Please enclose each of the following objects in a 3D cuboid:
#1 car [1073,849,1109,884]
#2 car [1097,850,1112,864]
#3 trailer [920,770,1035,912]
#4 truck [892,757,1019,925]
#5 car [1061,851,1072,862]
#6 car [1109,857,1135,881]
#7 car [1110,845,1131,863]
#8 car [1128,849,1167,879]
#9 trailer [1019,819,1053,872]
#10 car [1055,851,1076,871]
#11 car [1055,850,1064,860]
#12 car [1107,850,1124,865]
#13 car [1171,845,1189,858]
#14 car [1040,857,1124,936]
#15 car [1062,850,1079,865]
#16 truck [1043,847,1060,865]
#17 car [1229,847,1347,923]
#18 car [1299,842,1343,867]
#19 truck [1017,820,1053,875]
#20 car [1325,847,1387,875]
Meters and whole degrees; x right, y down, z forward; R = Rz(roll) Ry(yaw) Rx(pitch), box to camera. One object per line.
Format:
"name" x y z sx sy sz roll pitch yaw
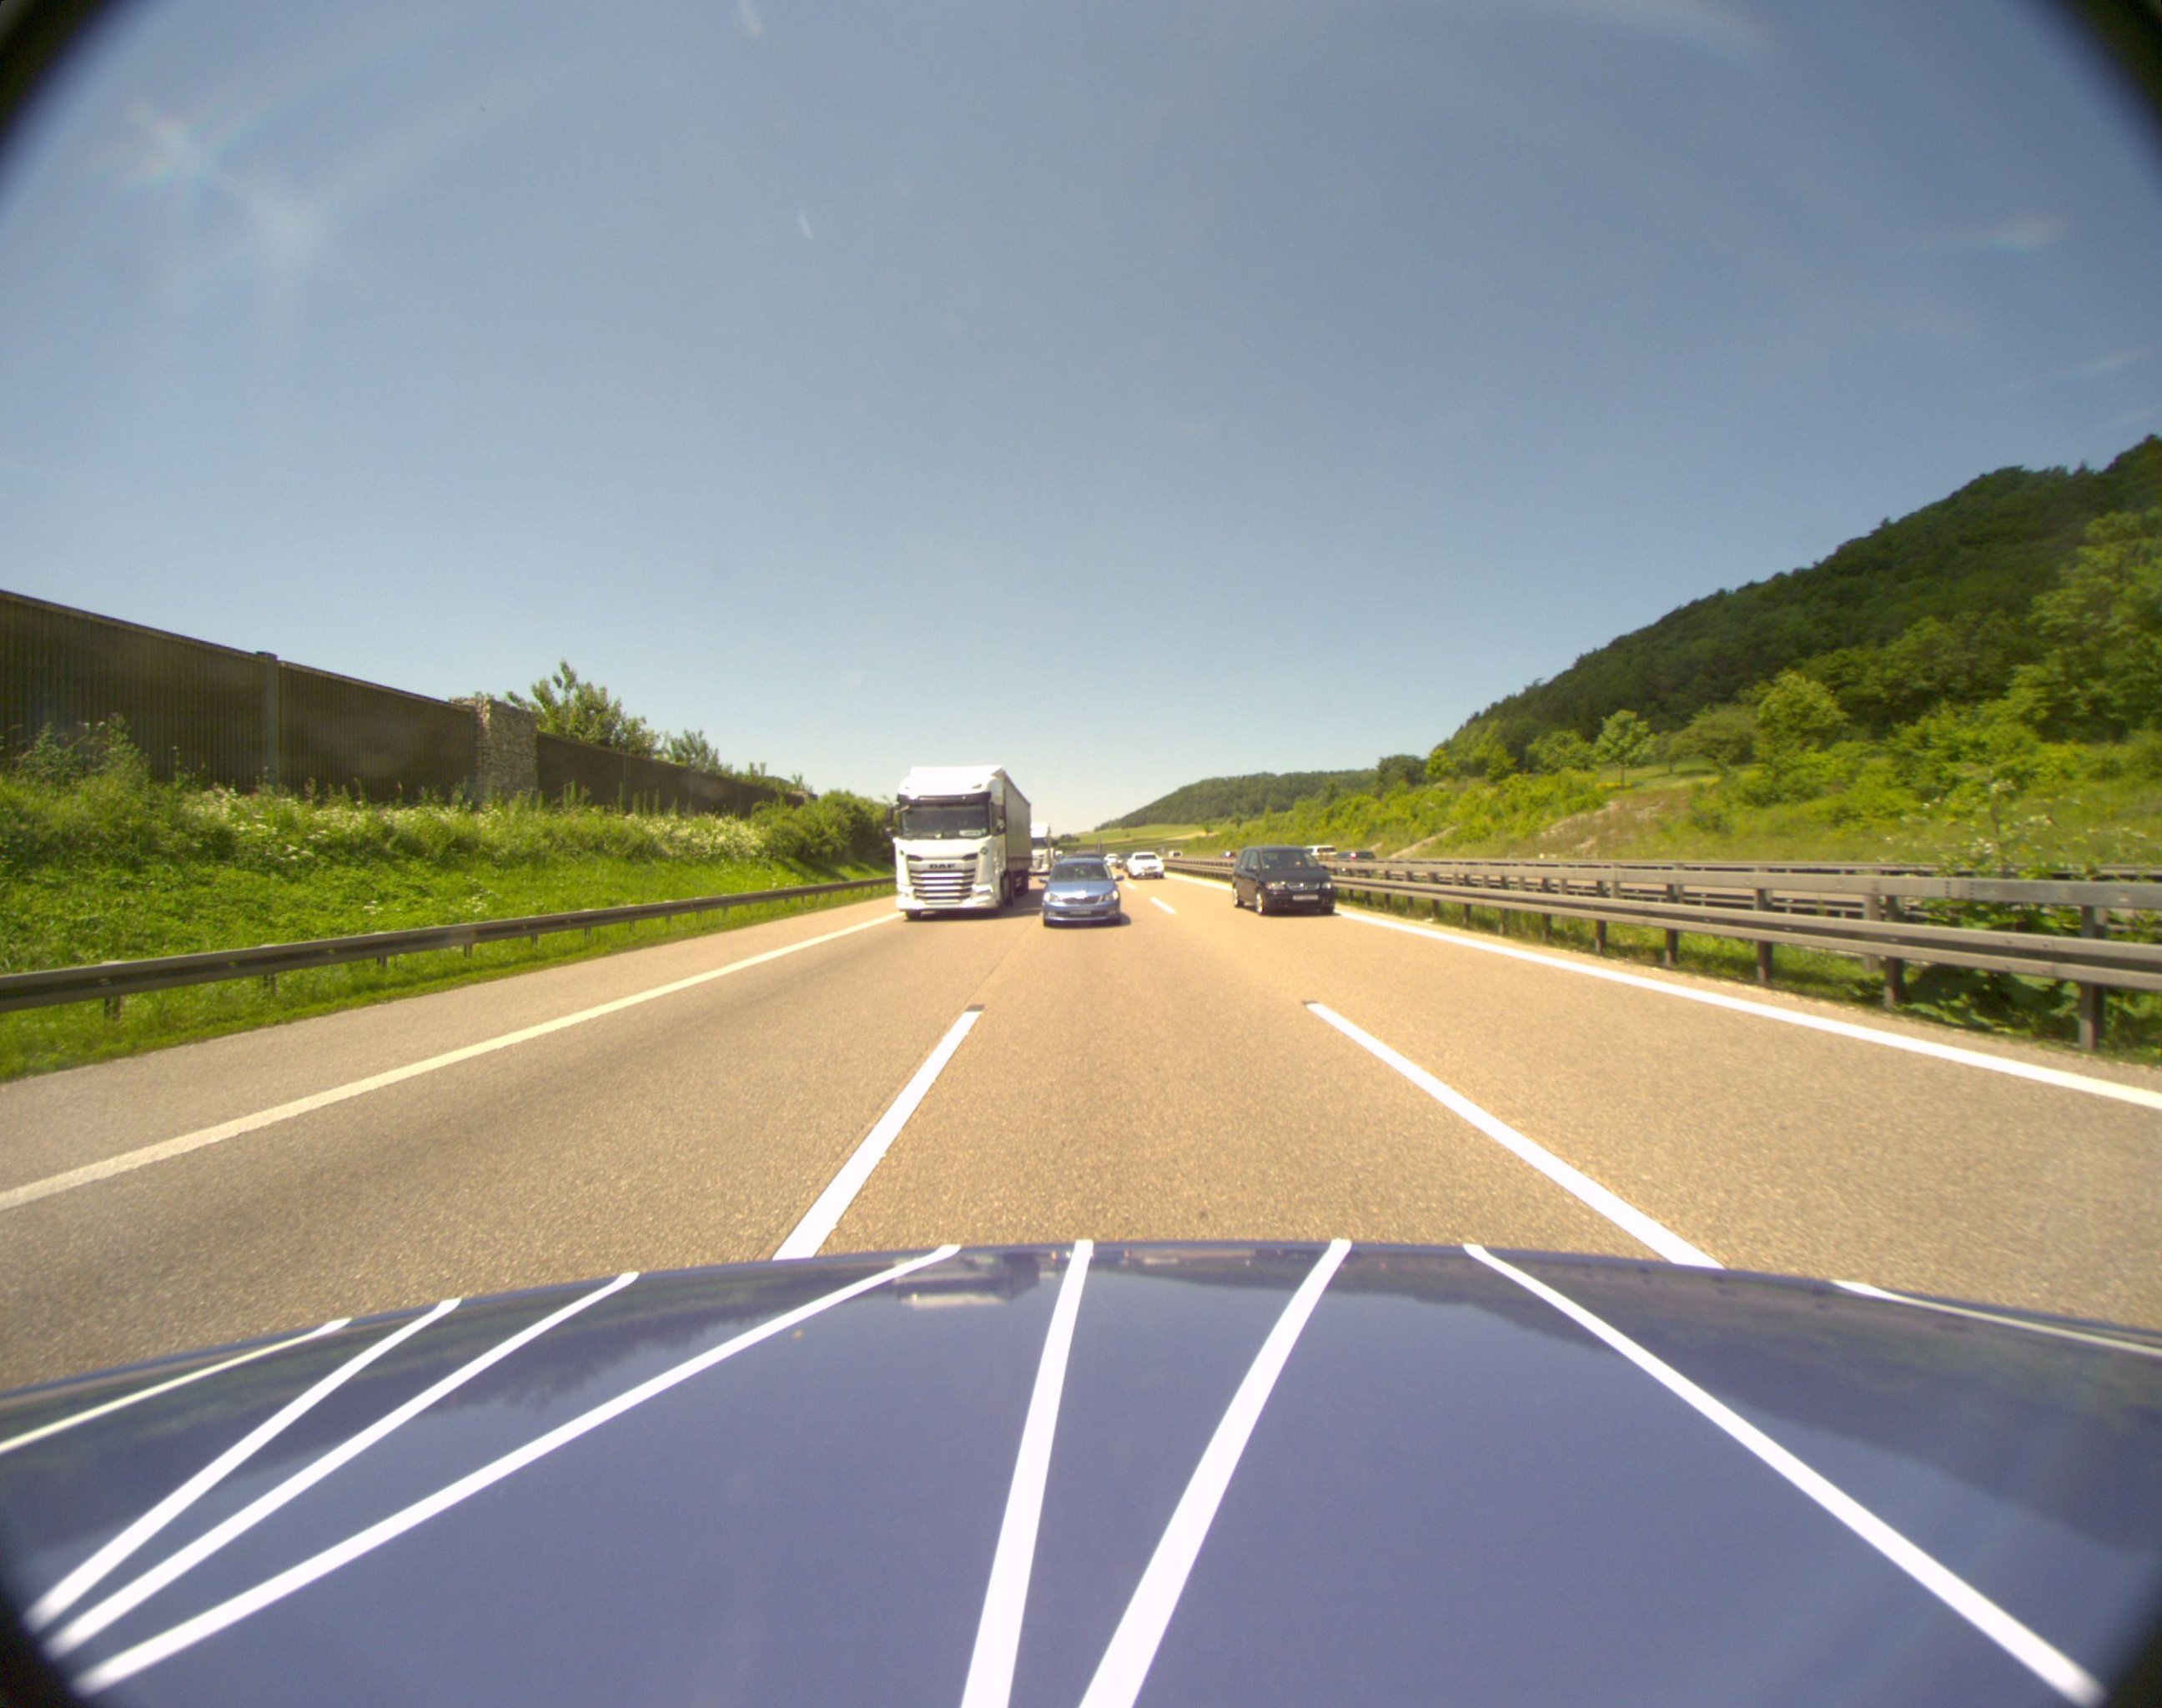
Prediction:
"car" 0.565 0.592 39.463 1.736 1.674 4.197 -1 0 1
"car" 3.210 0.404 104.093 1.998 1.702 4.000 -2 1 3
"trailer" -3.320 -0.396 28.185 2.484 3.954 13.652 -1 0 -1
"truck" -3.262 -0.322 21.355 2.484 3.954 6.380 -1 0 -1
"car" -2.735 0.452 143.877 1.999 2.002 3.999 -2 1 -1
"car" 3.385 1.199 62.464 1.998 1.692 4.000 -2 1 3
"car" 4.000 -0.019 77.589 1.998 1.702 4.000 -2 1 3
"car" 3.938 0.570 45.607 1.998 1.612 4.000 -2 1 1
"trailer" -3.804 -0.726 66.704 2.544 4.085 13.623 -2 1 -2
"car" -1.485 0.647 73.503 1.999 1.702 3.999 -2 1 -1
"car" -4.814 0.262 171.851 1.999 2.002 3.999 -2 1 -1
"car" 4.277 0.430 94.612 1.998 1.702 4.000 -2 1 3
"car" 14.720 -0.346 113.314 1.998 1.828 5.226 -1 0 0
"car" -0.009 0.863 17.568 1.660 1.481 4.652 -1 0 -1
"car" -1.279 0.371 91.485 1.999 1.702 3.999 -2 1 -1
"truck" -3.943 0.209 102.719 1.835 2.267 6.594 -2 1 0
"car" 4.949 0.658 18.818 1.805 1.625 4.446 -1 0 2
"car" 19.409 0.035 61.719 2.065 1.930 4.660 -1 0 0
"truck" -3.603 -0.558 60.796 2.532 4.065 6.077 -2 1 -2
"car" 16.004 0.371 44.456 1.998 1.510 4.521 -1 0 0
